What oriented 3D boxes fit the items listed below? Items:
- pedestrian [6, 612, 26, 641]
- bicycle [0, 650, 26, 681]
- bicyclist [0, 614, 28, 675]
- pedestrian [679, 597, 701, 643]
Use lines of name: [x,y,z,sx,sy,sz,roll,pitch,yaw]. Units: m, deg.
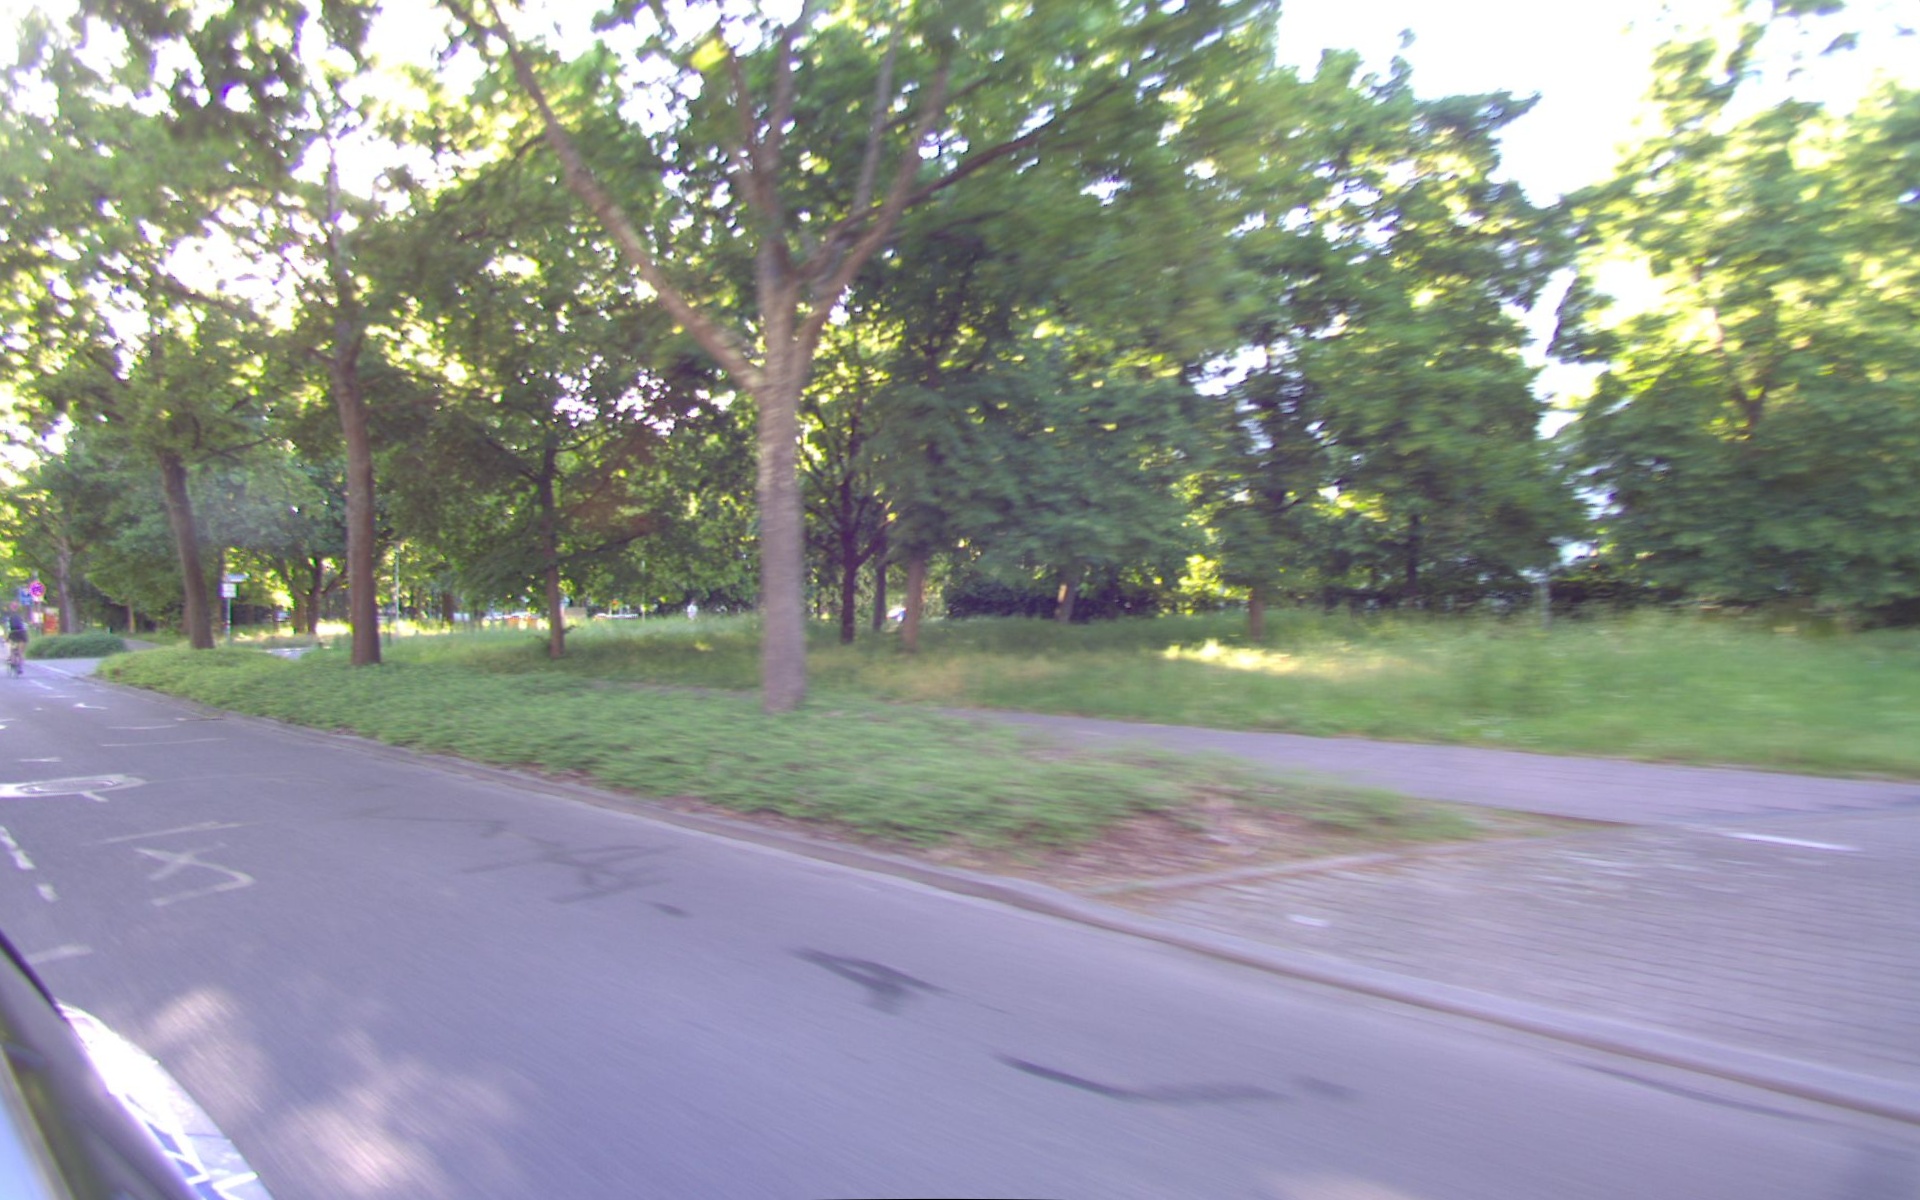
pedestrian: [-61.200,1.692,65.611,0.721,1.835,0.893,-2,-1,43]
bicycle: [-24.913,1.712,26.494,0.631,0.747,2.127,3,-3,-44]
bicyclist: [-24.892,1.165,26.503,0.625,1.567,1.003,3,-3,-44]
pedestrian: [-12.168,0.889,45.652,0.748,2.029,0.590,-1,0,-45]
